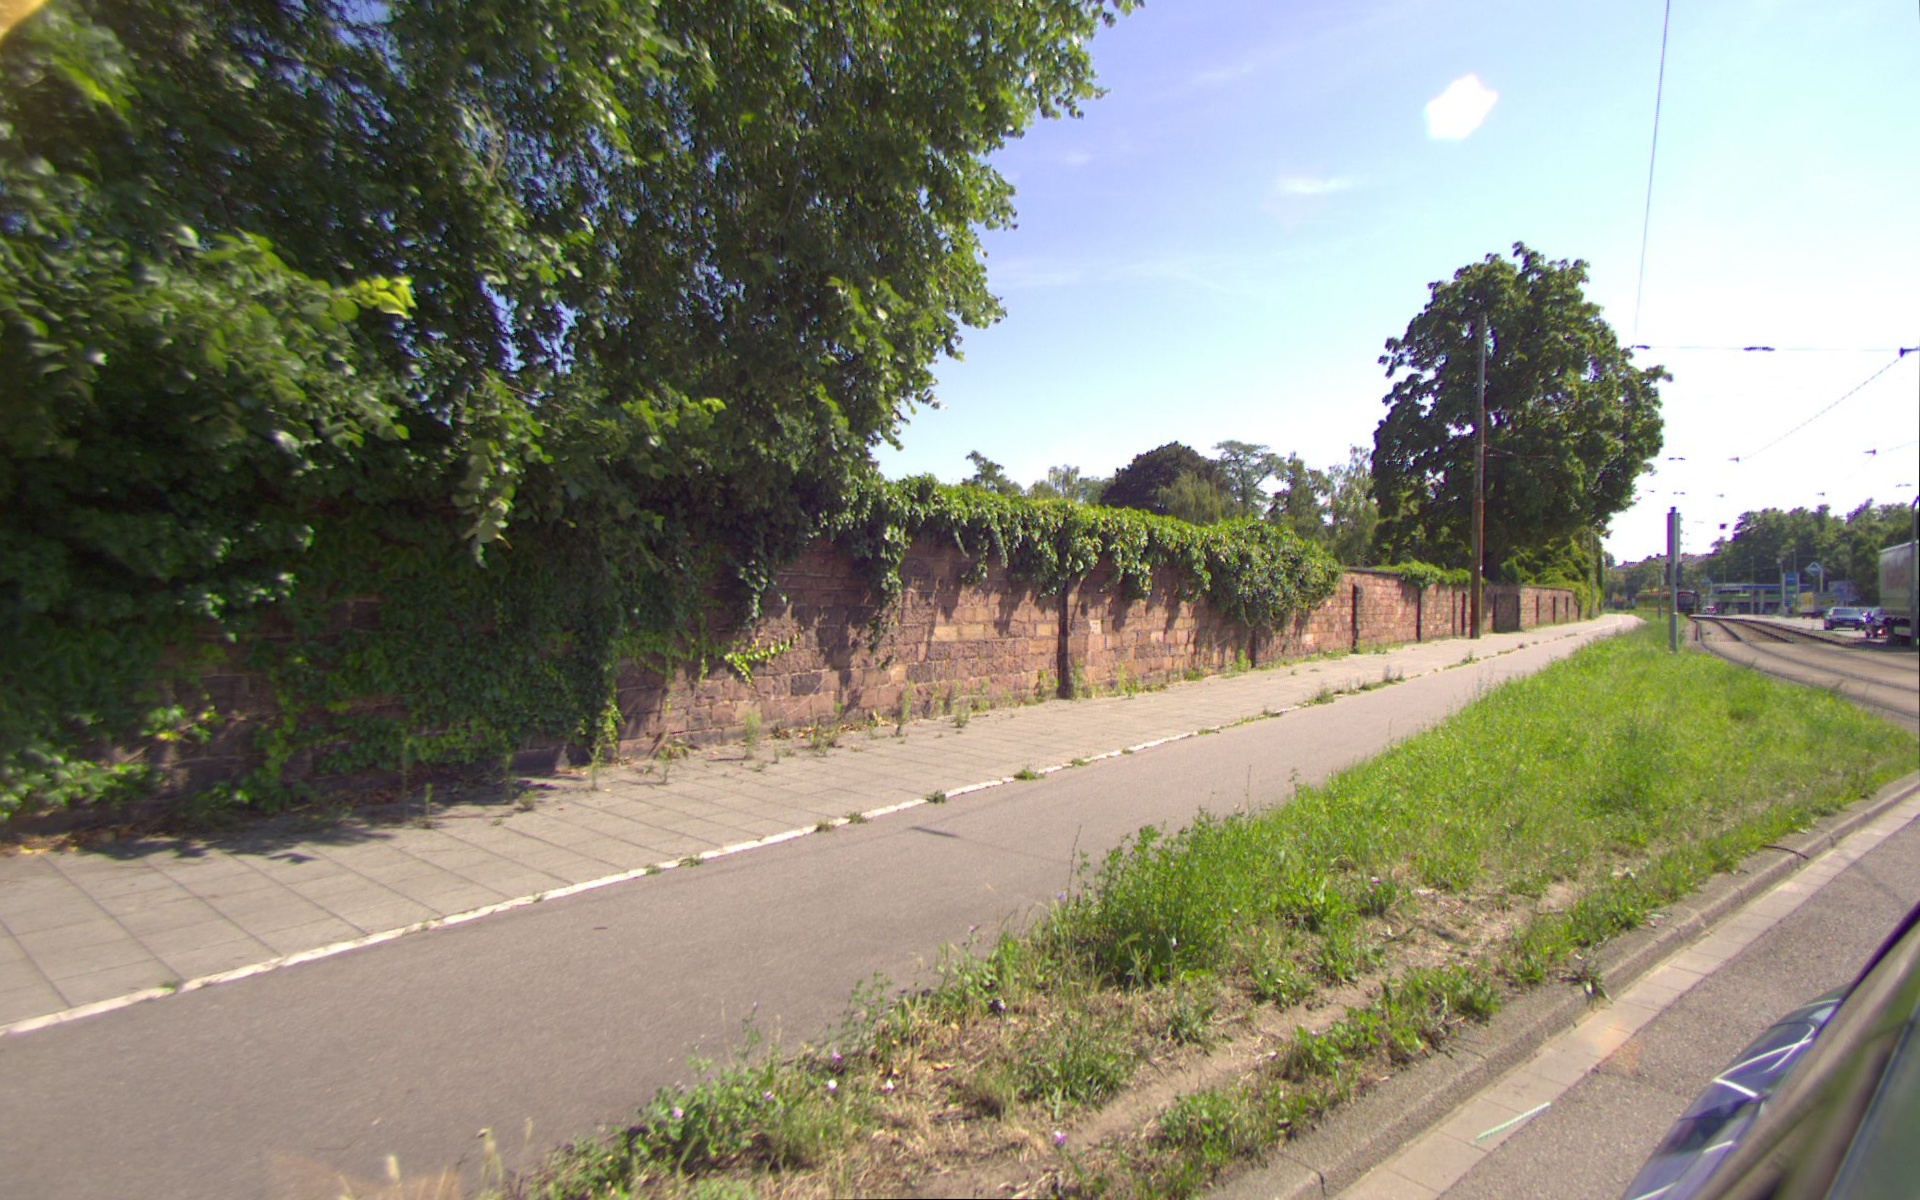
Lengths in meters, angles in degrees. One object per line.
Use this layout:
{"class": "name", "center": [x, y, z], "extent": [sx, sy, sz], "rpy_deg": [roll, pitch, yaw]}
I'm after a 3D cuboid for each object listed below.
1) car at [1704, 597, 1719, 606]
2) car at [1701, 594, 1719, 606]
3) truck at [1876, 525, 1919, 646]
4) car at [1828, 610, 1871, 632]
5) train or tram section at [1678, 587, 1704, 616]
{"class": "car", "center": [136.829, 0.262, 184.305], "extent": [1.835, 1.616, 3.954], "rpy_deg": [1, 1, 32]}
{"class": "car", "center": [136.926, 0.006, 184.733], "extent": [1.982, 2.039, 3.960], "rpy_deg": [1, 0, 28]}
{"class": "truck", "center": [36.010, -0.530, 36.115], "extent": [3.373, 4.122, 14.098], "rpy_deg": [-2, -1, 36]}
{"class": "car", "center": [55.482, 1.300, 63.177], "extent": [1.692, 1.271, 3.946], "rpy_deg": [1, 0, 37]}
{"class": "train or tram section", "center": [101.137, 0.156, 139.990], "extent": [2.662, 3.699, 15.103], "rpy_deg": [-2, -1, 36]}
